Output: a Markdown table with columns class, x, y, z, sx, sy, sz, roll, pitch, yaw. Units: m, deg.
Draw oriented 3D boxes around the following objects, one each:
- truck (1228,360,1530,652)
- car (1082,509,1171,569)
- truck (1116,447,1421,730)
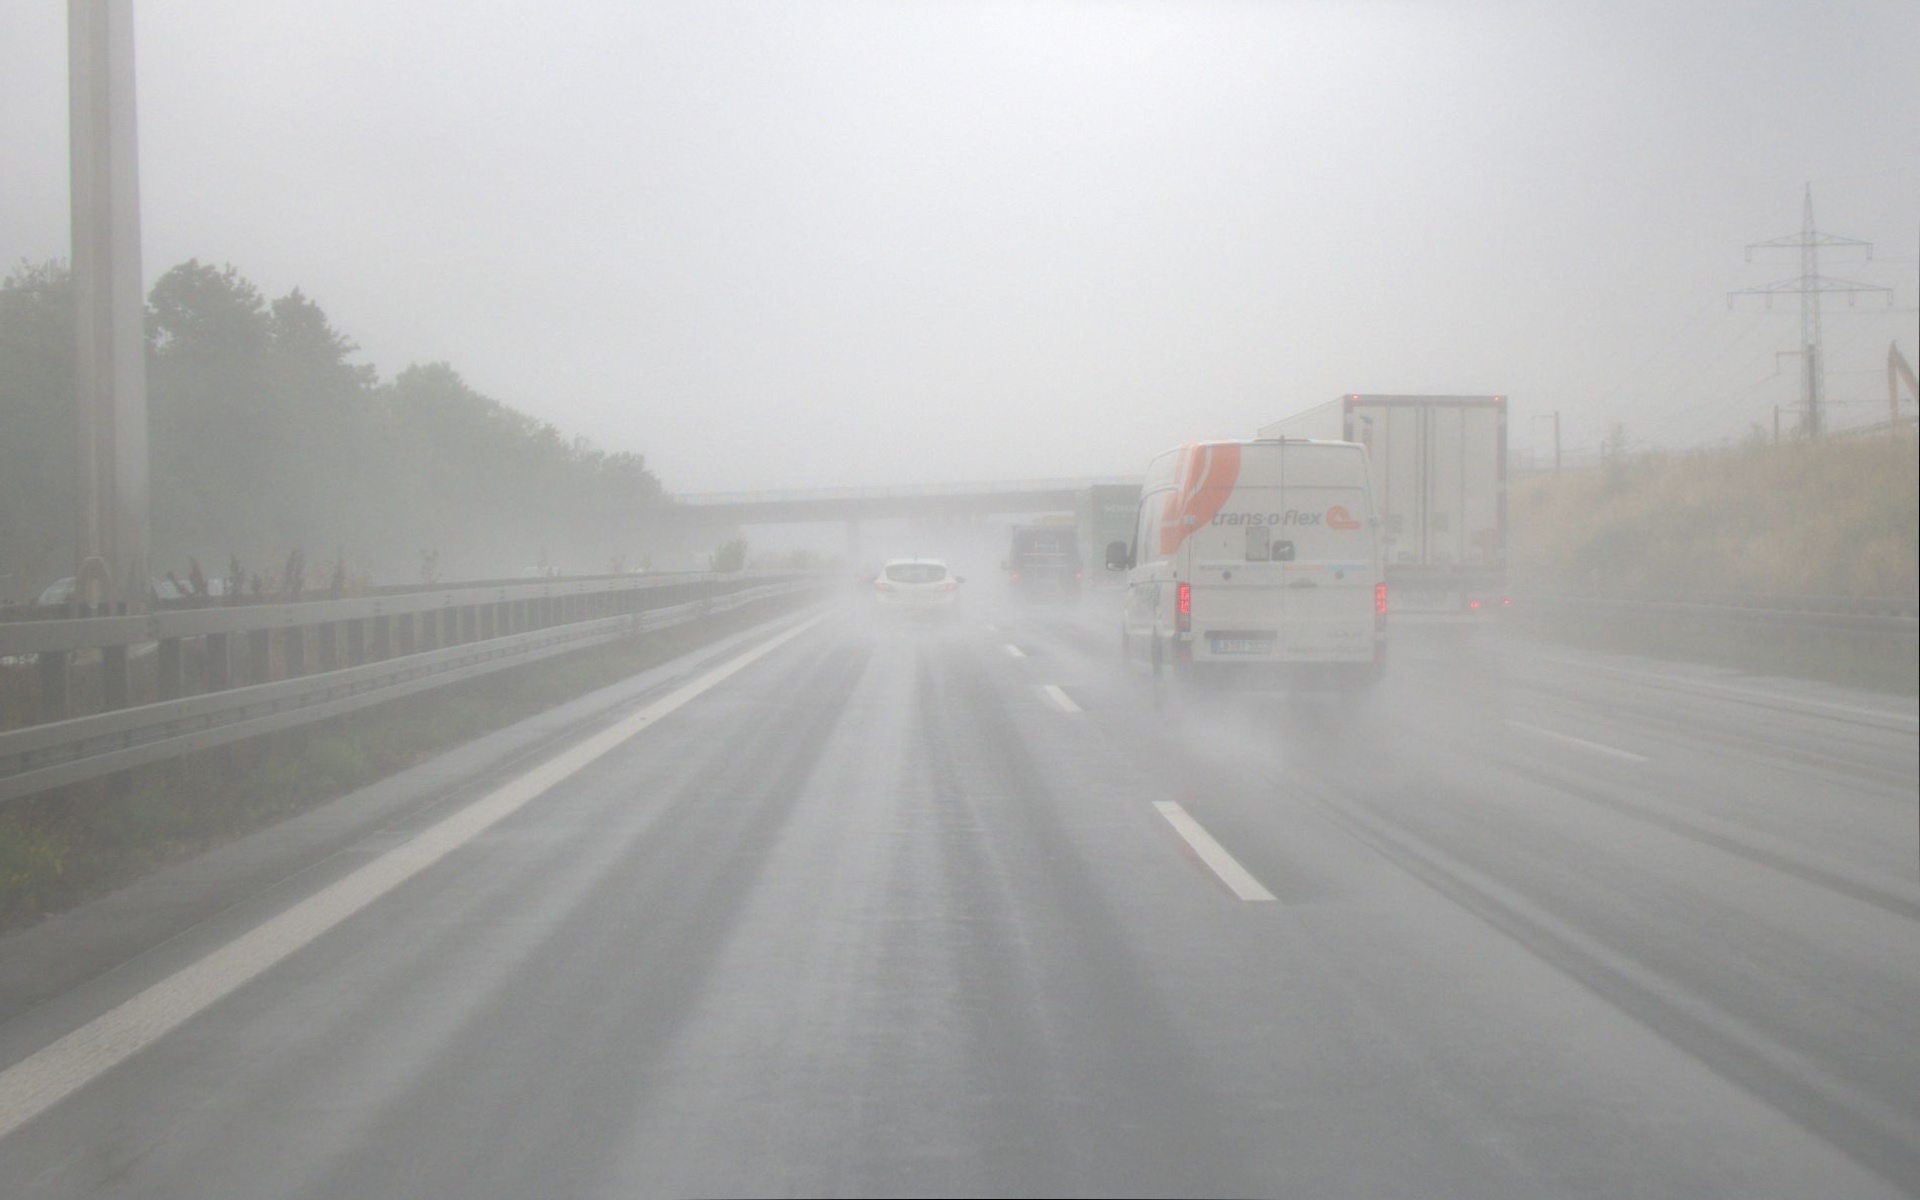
| class | x | y | z | sx | sy | sz | roll | pitch | yaw |
| --- | --- | --- | --- | --- | --- | --- | --- | --- | --- |
| truck | 7.249 | -1.600 | 62.426 | 3.039 | 4.572 | 16.352 | 1 | 1 | -1 |
| car | 5.804 | -2.153 | 120.313 | 2.788 | 2.006 | 4.993 | 1 | 2 | -1 |
| truck | 2.856 | -0.186 | 33.225 | 2.419 | 2.484 | 5.560 | 1 | 2 | 0 |
